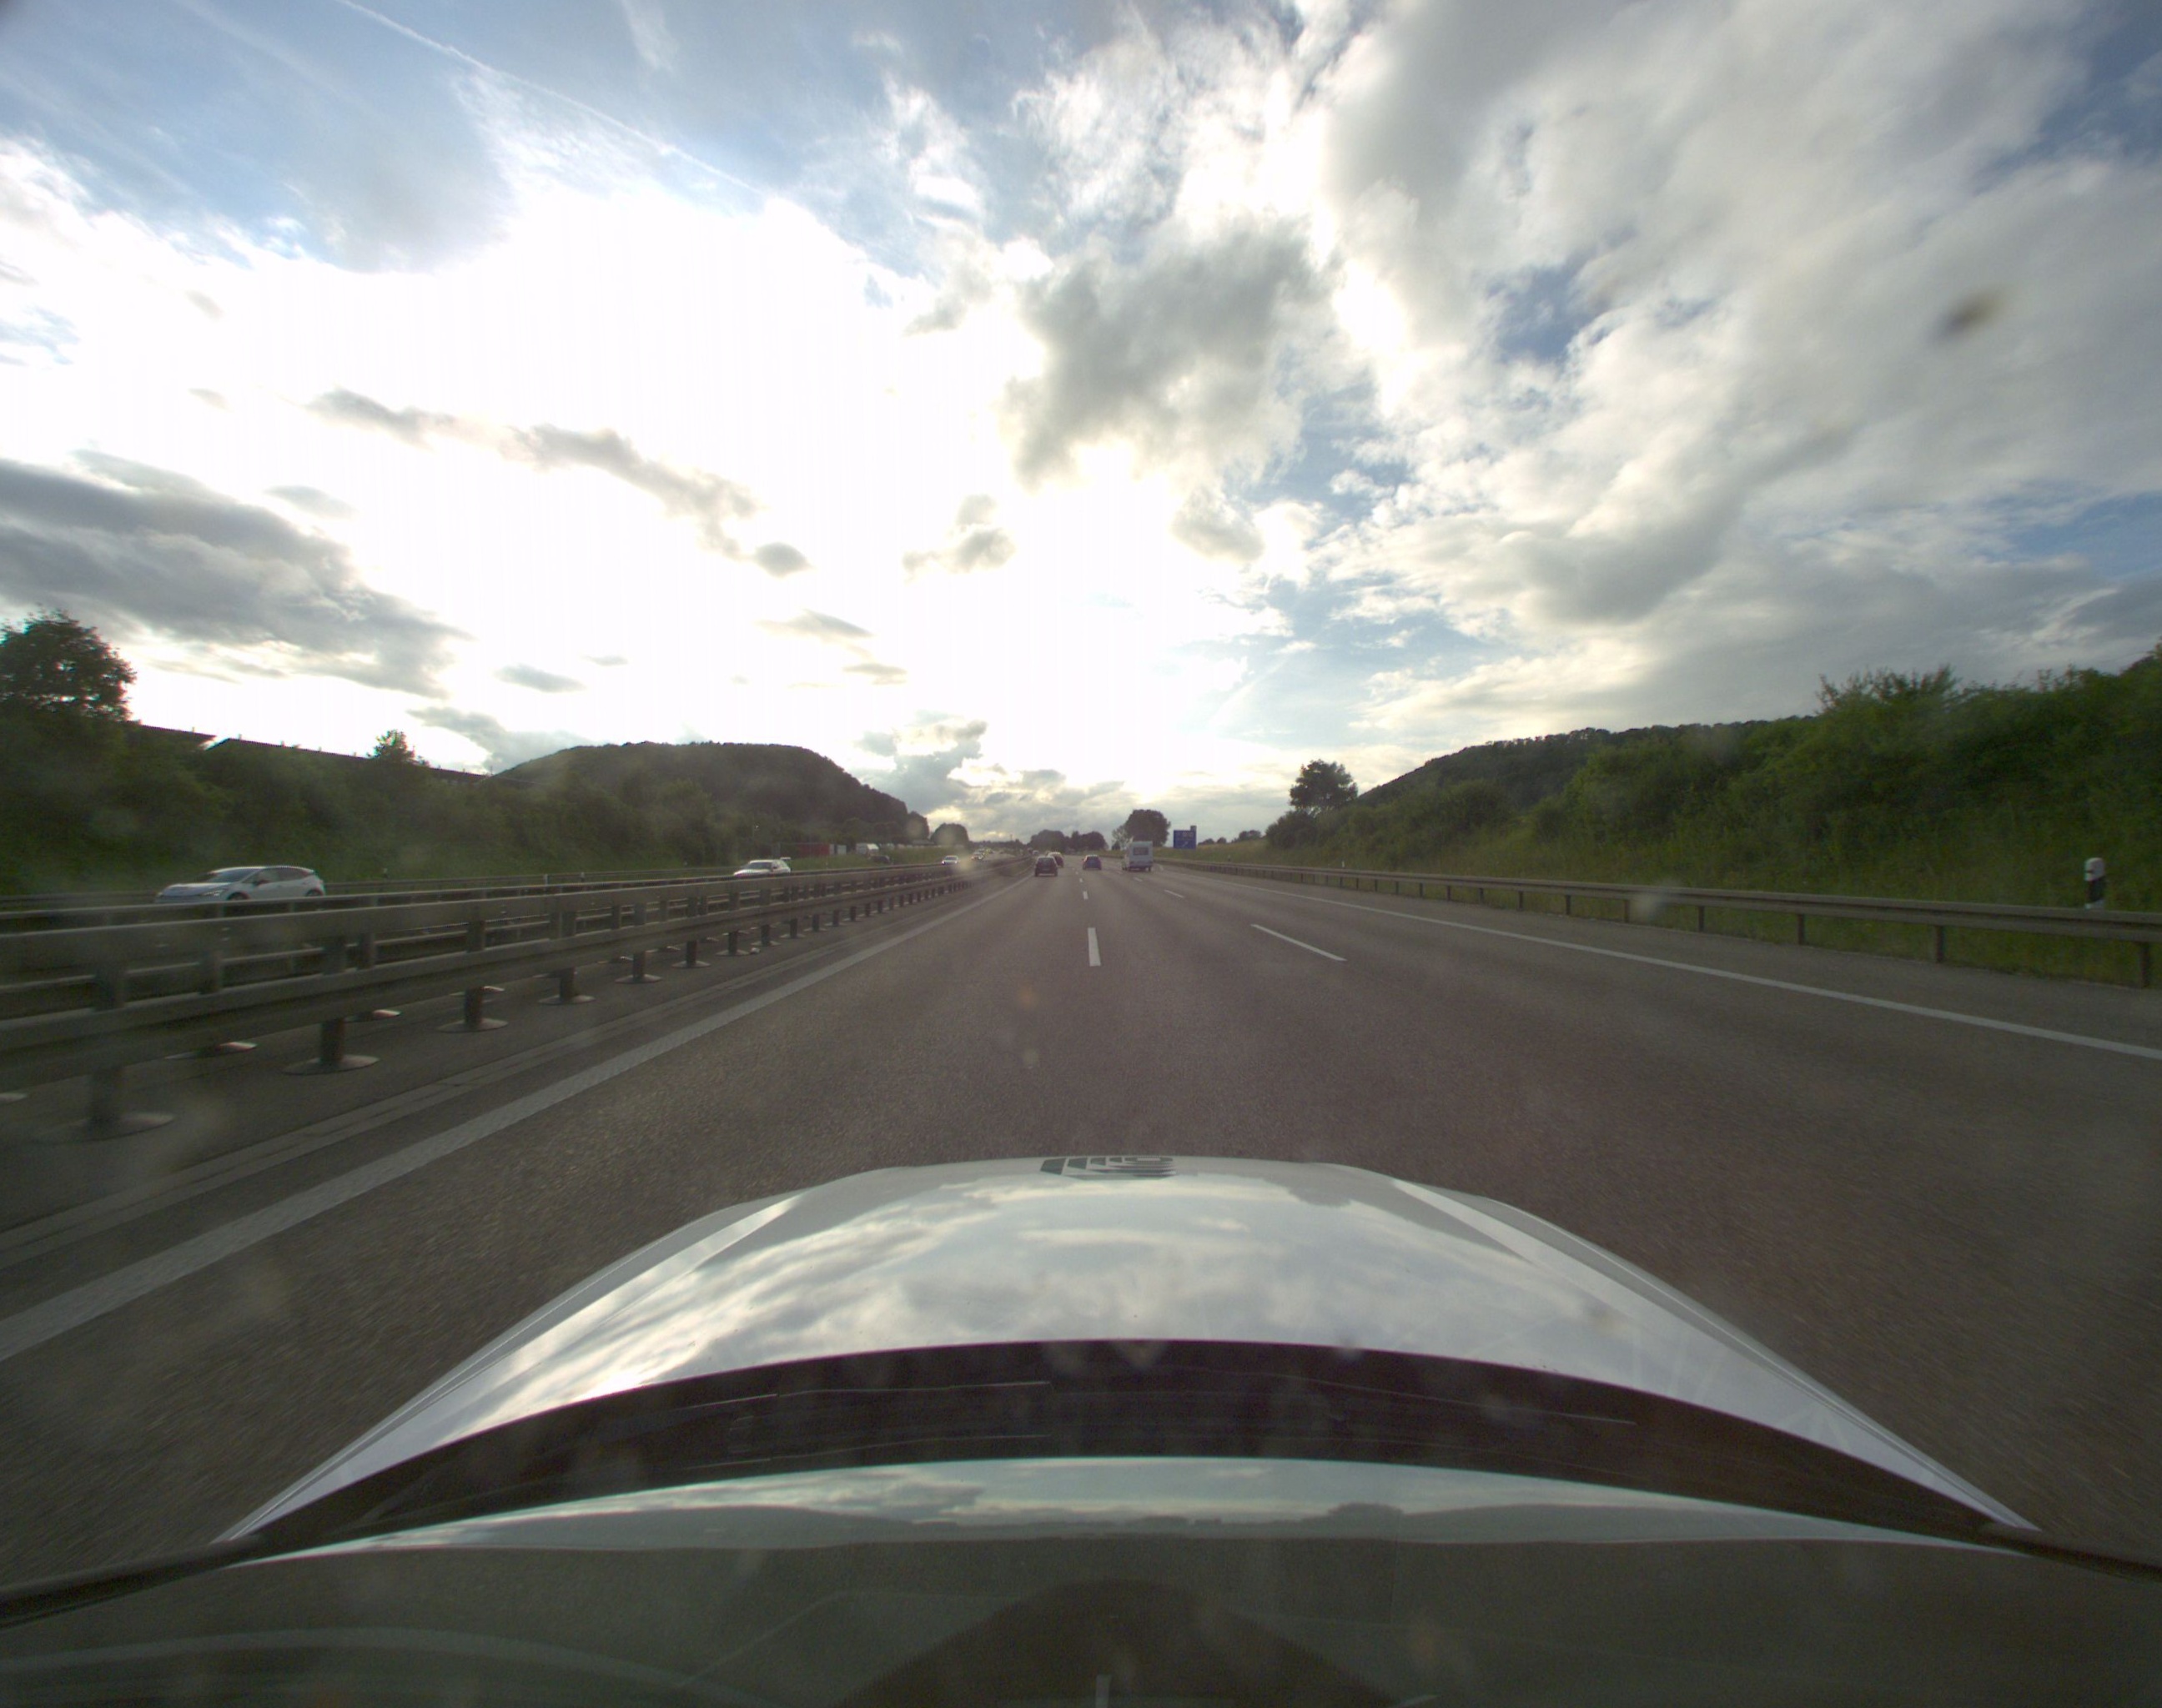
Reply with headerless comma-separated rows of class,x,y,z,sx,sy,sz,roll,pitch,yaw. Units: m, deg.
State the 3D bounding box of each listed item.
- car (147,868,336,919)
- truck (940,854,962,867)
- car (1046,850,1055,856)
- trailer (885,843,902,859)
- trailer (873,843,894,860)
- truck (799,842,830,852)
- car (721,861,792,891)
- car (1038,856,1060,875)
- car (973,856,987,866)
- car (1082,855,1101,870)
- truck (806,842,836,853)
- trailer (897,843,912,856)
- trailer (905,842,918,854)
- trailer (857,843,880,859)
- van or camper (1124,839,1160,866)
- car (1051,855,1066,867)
car,-26.313,1.176,25.785,1.757,1.358,4.372,-1,0,-7
truck,-15.182,0.748,95.524,1.989,1.365,4.641,-1,0,-3
car,-8.547,-0.243,226.365,1.948,1.574,4.005,-1,-1,5
trailer,-48.698,-0.759,211.891,2.876,3.696,13.635,-2,0,-8
trailer,-45.790,-0.536,189.531,2.874,3.696,13.646,-2,0,-6
truck,-58.770,-1.487,179.725,7.214,2.014,2.919,-1,-1,38
car,-17.112,1.157,43.157,1.985,1.486,4.003,-2,-1,3
car,-2.334,0.813,60.450,1.534,1.348,3.675,-1,0,-1
car,-17.544,1.193,141.857,1.988,1.497,4.688,-3,0,-2
car,1.018,0.806,79.254,1.761,1.433,3.998,-2,0,-1
truck,-59.007,-1.479,184.762,7.214,2.226,2.919,-1,1,38
trailer,-50.533,-1.348,233.049,2.873,3.696,10.351,-2,0,-6
trailer,-53.128,-1.897,254.975,2.873,3.696,10.351,-2,0,-6
trailer,-43.089,-0.576,165.397,2.575,2.853,12.238,0,-1,-5
van or camper,5.202,-0.095,70.443,2.541,2.239,5.325,-1,-1,-2
car,-2.637,0.794,93.633,1.562,1.380,3.994,-1,0,-4
